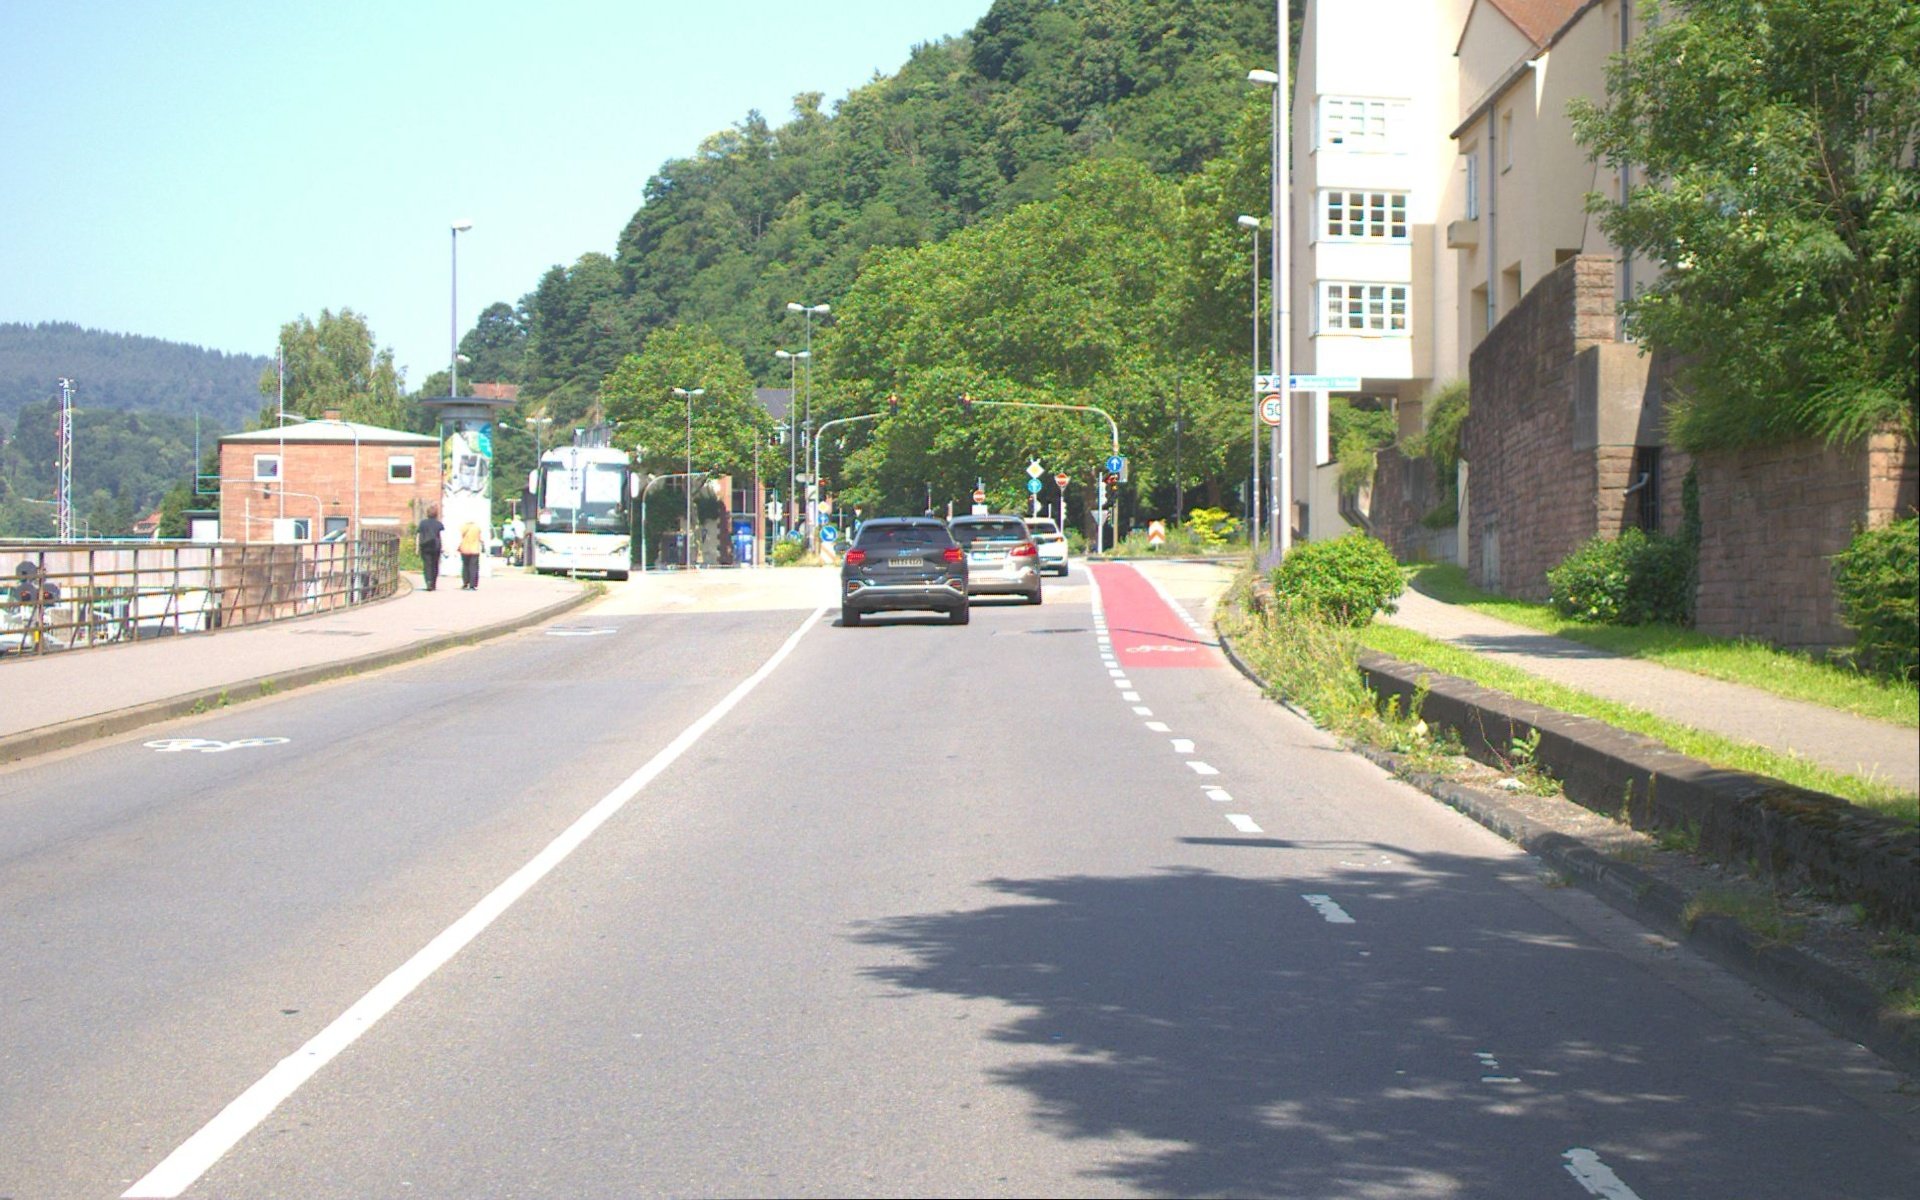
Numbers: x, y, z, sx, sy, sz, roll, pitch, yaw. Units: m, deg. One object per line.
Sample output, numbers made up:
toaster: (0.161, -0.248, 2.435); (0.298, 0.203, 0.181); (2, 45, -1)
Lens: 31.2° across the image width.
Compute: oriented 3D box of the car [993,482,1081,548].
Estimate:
car: (1.809, -2.019, 82.531); (1.993, 1.528, 4.859); (0, 1, 0)

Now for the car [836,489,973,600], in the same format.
car: (-0.761, -0.797, 48.928); (1.869, 1.508, 4.151); (0, 1, 0)

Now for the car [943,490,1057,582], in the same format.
car: (0.662, -1.100, 59.198); (1.888, 1.516, 4.306); (0, 1, 0)

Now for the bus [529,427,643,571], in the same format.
bus: (-10.565, -2.800, 98.092); (2.956, 3.787, 13.247); (-1, 1, -5)

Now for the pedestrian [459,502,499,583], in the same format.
pedestrian: (-9.713, -1.157, 69.446); (0.702, 1.615, 0.817); (-1, 1, -2)

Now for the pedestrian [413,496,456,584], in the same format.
pedestrian: (-10.274, -1.182, 67.232); (0.683, 1.703, 0.773); (-1, 1, 0)
